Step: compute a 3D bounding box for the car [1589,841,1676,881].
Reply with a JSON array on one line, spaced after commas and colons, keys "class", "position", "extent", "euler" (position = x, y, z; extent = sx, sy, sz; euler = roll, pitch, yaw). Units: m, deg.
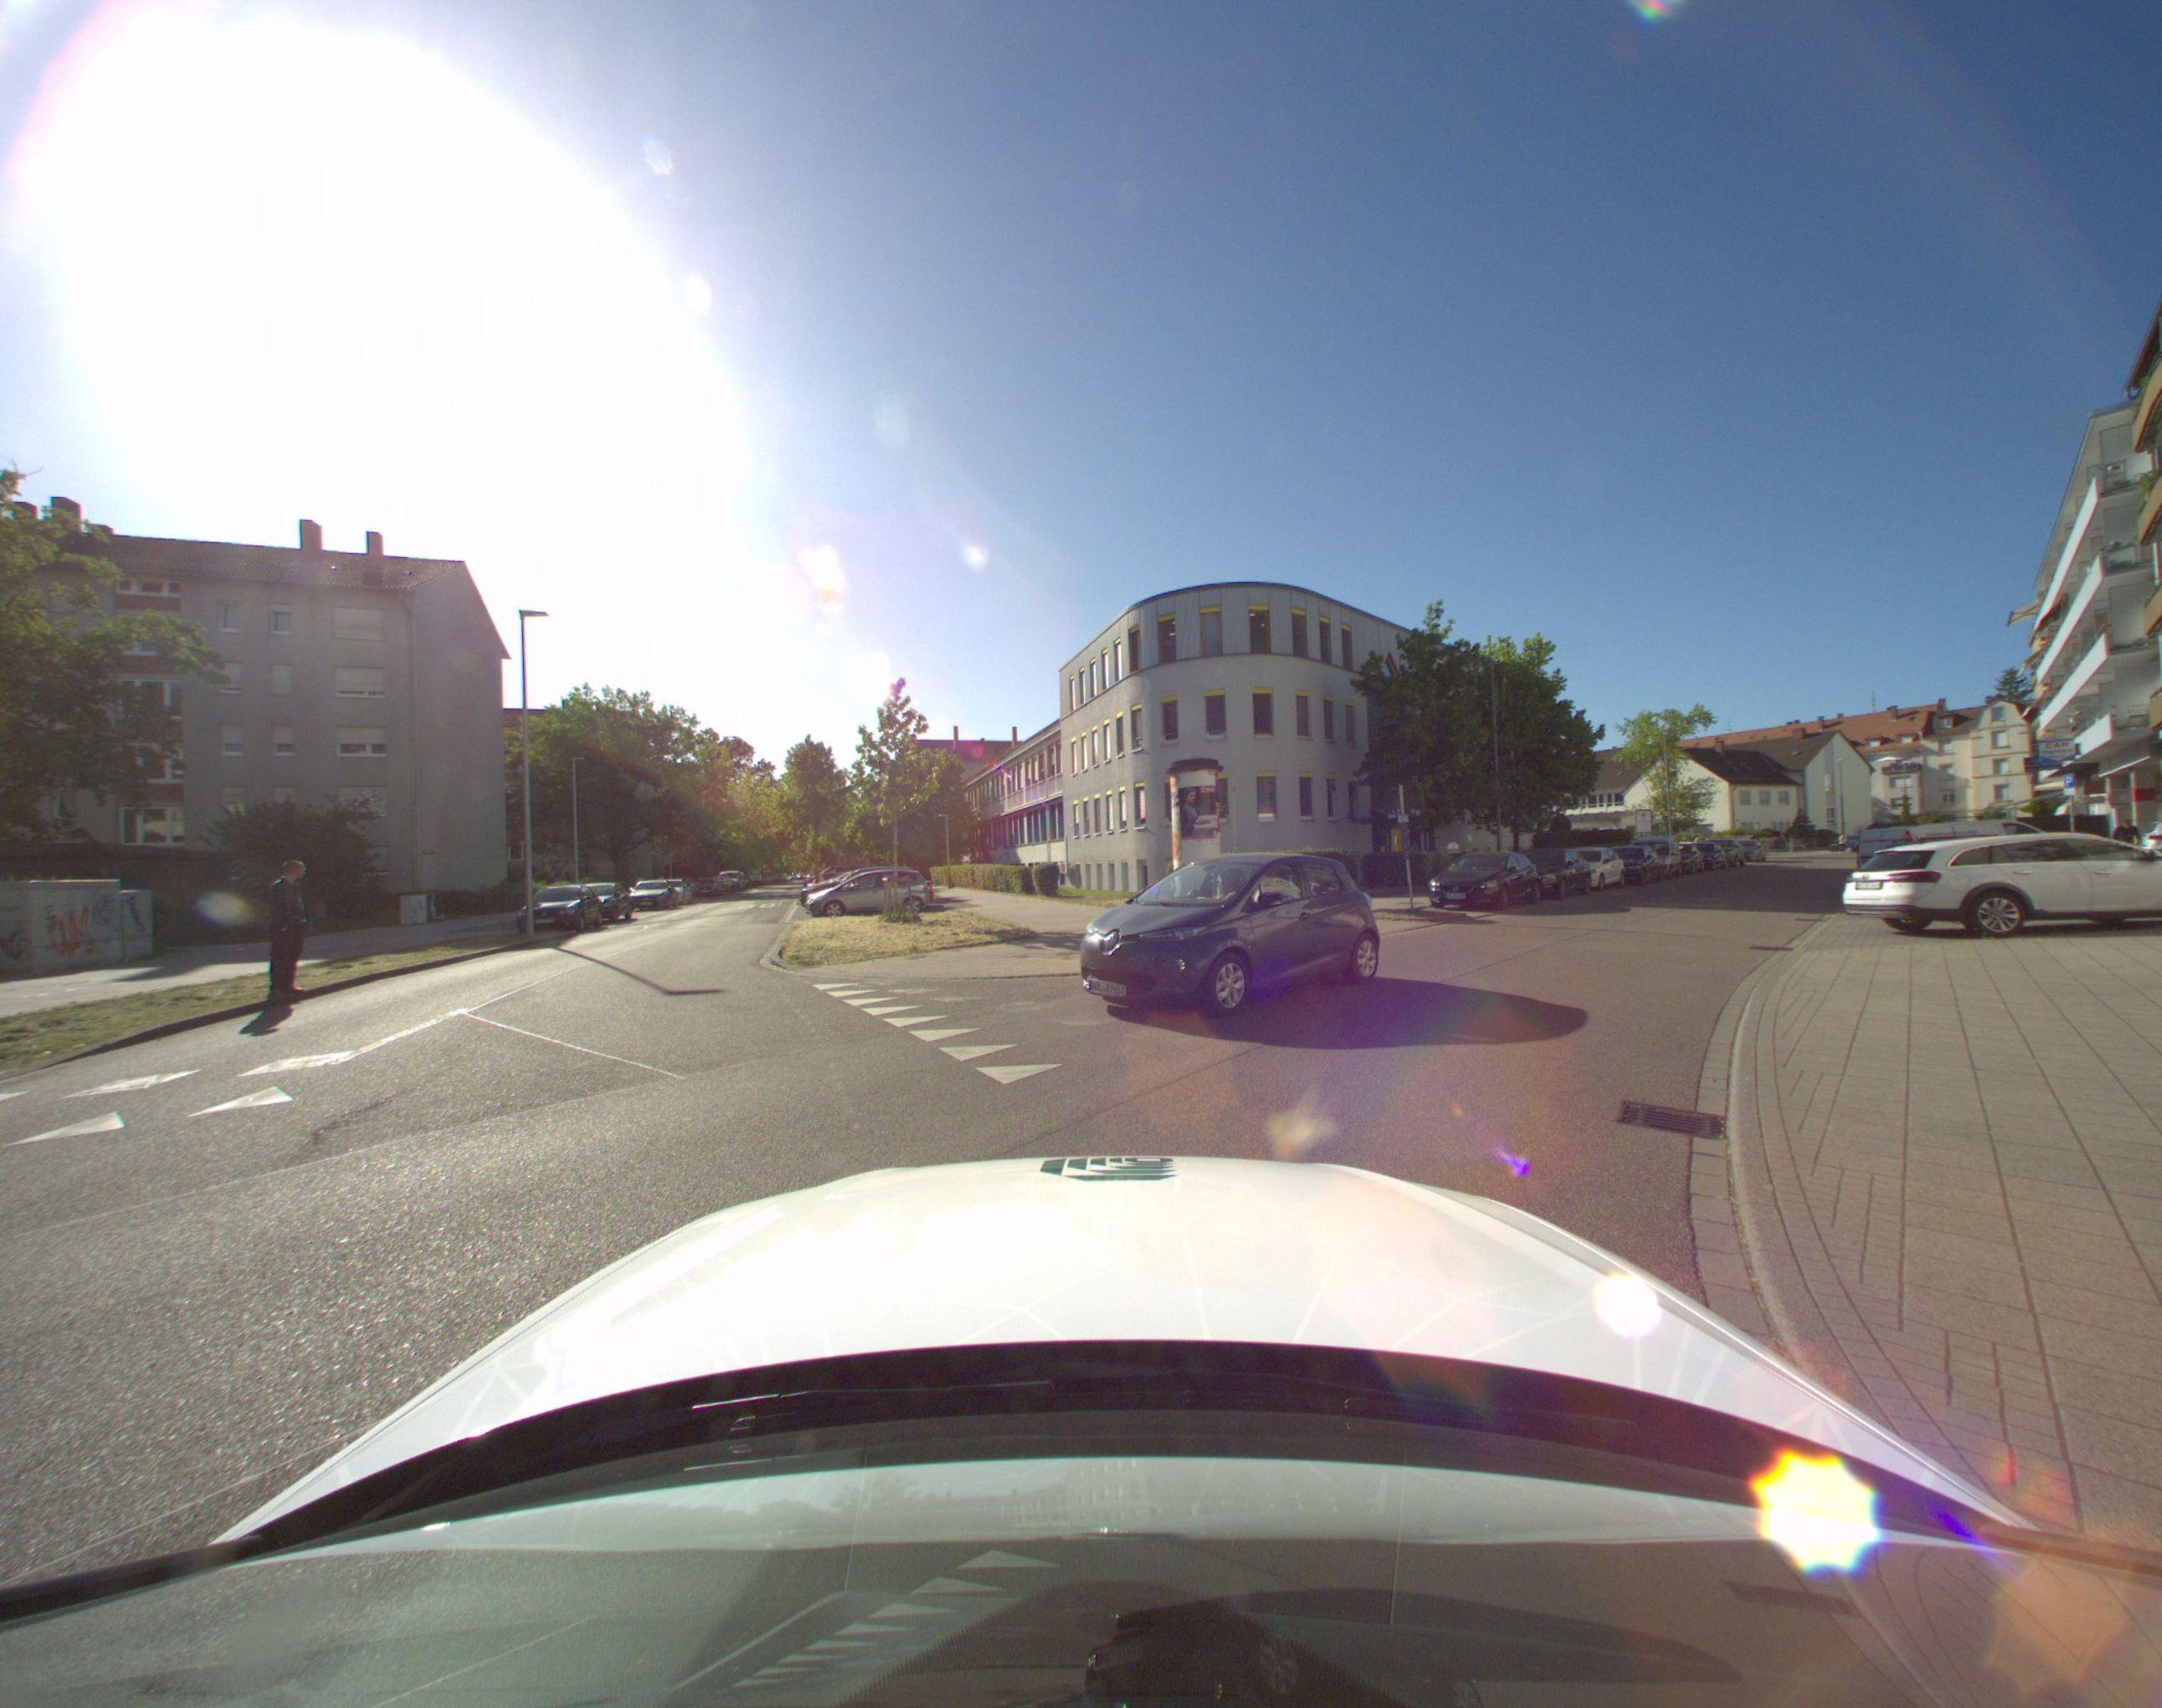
[{"class": "car", "position": [21.498, 0.249, 31.673], "extent": [4.637, 1.439, 1.717], "euler": [-1, -1, -42]}]

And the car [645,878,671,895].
[{"class": "car", "position": [-33.598, 2.550, 64.707], "extent": [1.276, 1.225, 2.648], "euler": [-2, 0, -16]}]

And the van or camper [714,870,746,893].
[{"class": "van or camper", "position": [-31.654, 2.528, 73.517], "extent": [1.997, 2.014, 3.979], "euler": [0, -2, -15]}]

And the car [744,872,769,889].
[{"class": "car", "position": [-39.677, 3.257, 99.566], "extent": [1.994, 2.014, 3.986], "euler": [0, -2, -10]}]

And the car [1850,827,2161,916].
[{"class": "car", "position": [17.696, 0.356, 15.448], "extent": [4.129, 1.497, 1.829], "euler": [-2, -2, 12]}]

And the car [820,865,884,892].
[{"class": "car", "position": [-16.586, 1.766, 58.916], "extent": [4.294, 1.699, 1.986], "euler": [-3, -1, -21]}]

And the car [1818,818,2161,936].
[{"class": "car", "position": [15.147, 0.322, 12.848], "extent": [4.826, 1.464, 1.979], "euler": [-5, -1, 11]}]

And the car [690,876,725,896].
[{"class": "car", "position": [-27.554, 2.374, 60.232], "extent": [2.000, 1.408, 3.881], "euler": [1, -2, -20]}]

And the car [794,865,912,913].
[{"class": "car", "position": [-8.897, 1.340, 31.725], "extent": [4.294, 1.765, 1.986], "euler": [1, -2, -21]}]

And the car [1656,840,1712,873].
[{"class": "car", "position": [28.625, 0.092, 38.631], "extent": [1.583, 1.440, 4.024], "euler": [-2, 0, 44]}]

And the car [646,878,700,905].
[{"class": "car", "position": [-22.563, 2.046, 45.160], "extent": [1.998, 1.398, 3.976], "euler": [-1, -1, -17]}]

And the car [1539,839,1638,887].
[{"class": "car", "position": [17.740, 0.290, 28.369], "extent": [1.890, 1.530, 4.652], "euler": [-2, -1, 45]}]

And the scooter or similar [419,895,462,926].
[{"class": "scooter or similar", "position": [-24.178, 2.118, 30.772], "extent": [0.531, 1.046, 1.862], "euler": [-2, 0, -13]}]

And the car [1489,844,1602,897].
[{"class": "car", "position": [14.254, 0.460, 24.884], "extent": [1.890, 1.479, 4.406], "euler": [-2, -1, 45]}]

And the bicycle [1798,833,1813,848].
[{"class": "bicycle", "position": [65.543, -1.206, 73.689], "extent": [1.934, 1.250, 0.453], "euler": [1, -2, -32]}]

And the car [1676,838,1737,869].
[{"class": "car", "position": [32.581, -0.041, 42.391], "extent": [4.464, 1.465, 1.710], "euler": [-2, 0, -42]}]

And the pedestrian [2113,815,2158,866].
[{"class": "pedestrian", "position": [34.614, -0.433, 26.748], "extent": [0.893, 1.593, 0.826], "euler": [-1, -2, -38]}]

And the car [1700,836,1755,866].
[{"class": "car", "position": [36.643, -0.196, 46.121], "extent": [4.446, 1.586, 1.704], "euler": [-2, 0, -42]}]

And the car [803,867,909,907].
[{"class": "car", "position": [-9.526, 1.386, 34.464], "extent": [4.217, 1.596, 1.986], "euler": [1, -2, -20]}]

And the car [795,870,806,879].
[{"class": "car", "position": [-59.529, 4.315, 172.861], "extent": [1.999, 1.747, 3.975], "euler": [-2, 0, -18]}]

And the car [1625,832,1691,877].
[{"class": "car", "position": [25.097, 0.000, 35.367], "extent": [1.672, 1.838, 4.367], "euler": [-2, 0, 44]}]

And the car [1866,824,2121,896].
[{"class": "car", "position": [22.760, 0.201, 20.499], "extent": [3.955, 1.490, 1.623], "euler": [-4, -4, 15]}]

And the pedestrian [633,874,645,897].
[{"class": "pedestrian", "position": [-33.303, 2.380, 61.359], "extent": [0.637, 1.664, 0.694], "euler": [-2, -1, -24]}]

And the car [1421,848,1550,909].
[{"class": "car", "position": [10.669, 0.585, 21.346], "extent": [1.772, 1.410, 4.248], "euler": [-2, 0, 45]}]

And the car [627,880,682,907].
[{"class": "car", "position": [-20.786, 1.914, 39.840], "extent": [1.633, 1.234, 4.167], "euler": [0, -2, -17]}]

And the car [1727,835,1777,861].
[{"class": "car", "position": [43.991, -0.423, 53.342], "extent": [4.947, 1.534, 1.975], "euler": [-2, 0, -44]}]

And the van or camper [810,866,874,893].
[{"class": "van or camper", "position": [-15.812, 1.686, 53.873], "extent": [3.998, 1.772, 1.987], "euler": [0, -2, -19]}]

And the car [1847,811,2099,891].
[{"class": "car", "position": [25.070, -0.037, 23.075], "extent": [4.493, 1.898, 2.053], "euler": [-3, -4, 5]}]

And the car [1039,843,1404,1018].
[{"class": "car", "position": [1.723, 0.688, 9.088], "extent": [4.160, 1.504, 1.820], "euler": [0, -2, -42]}]

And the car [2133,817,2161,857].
[{"class": "car", "position": [43.241, -0.743, 30.556], "extent": [1.990, 1.513, 4.351], "euler": [0, -2, -44]}]

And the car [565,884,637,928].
[{"class": "car", "position": [-17.607, 1.863, 30.025], "extent": [1.410, 1.376, 3.975], "euler": [-2, 0, -18]}]

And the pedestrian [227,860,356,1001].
[{"class": "pedestrian", "position": [-10.291, 0.956, 10.666], "extent": [0.874, 1.714, 0.972], "euler": [-2, -1, -22]}]

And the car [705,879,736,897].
[{"class": "car", "position": [-30.014, 2.785, 67.837], "extent": [1.847, 1.398, 3.976], "euler": [-1, -1, -17]}]

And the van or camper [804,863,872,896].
[{"class": "van or camper", "position": [-15.255, 1.599, 51.158], "extent": [3.998, 2.014, 1.987], "euler": [0, -2, -19]}]

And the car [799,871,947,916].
[{"class": "car", "position": [-7.373, 1.371, 28.876], "extent": [4.890, 1.274, 1.716], "euler": [-2, -1, -22]}]

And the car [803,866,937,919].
[{"class": "car", "position": [-6.962, 1.223, 26.885], "extent": [4.104, 1.492, 1.716], "euler": [-2, 0, -21]}]

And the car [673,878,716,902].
[{"class": "car", "position": [-24.677, 2.271, 52.130], "extent": [1.847, 1.398, 3.976], "euler": [-1, -1, -17]}]

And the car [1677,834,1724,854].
[{"class": "car", "position": [52.931, -0.819, 69.586], "extent": [3.188, 1.556, 1.793], "euler": [1, -2, -20]}]

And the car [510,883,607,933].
[{"class": "car", "position": [-16.236, 1.626, 25.502], "extent": [1.672, 1.420, 3.973], "euler": [1, -2, -20]}]
